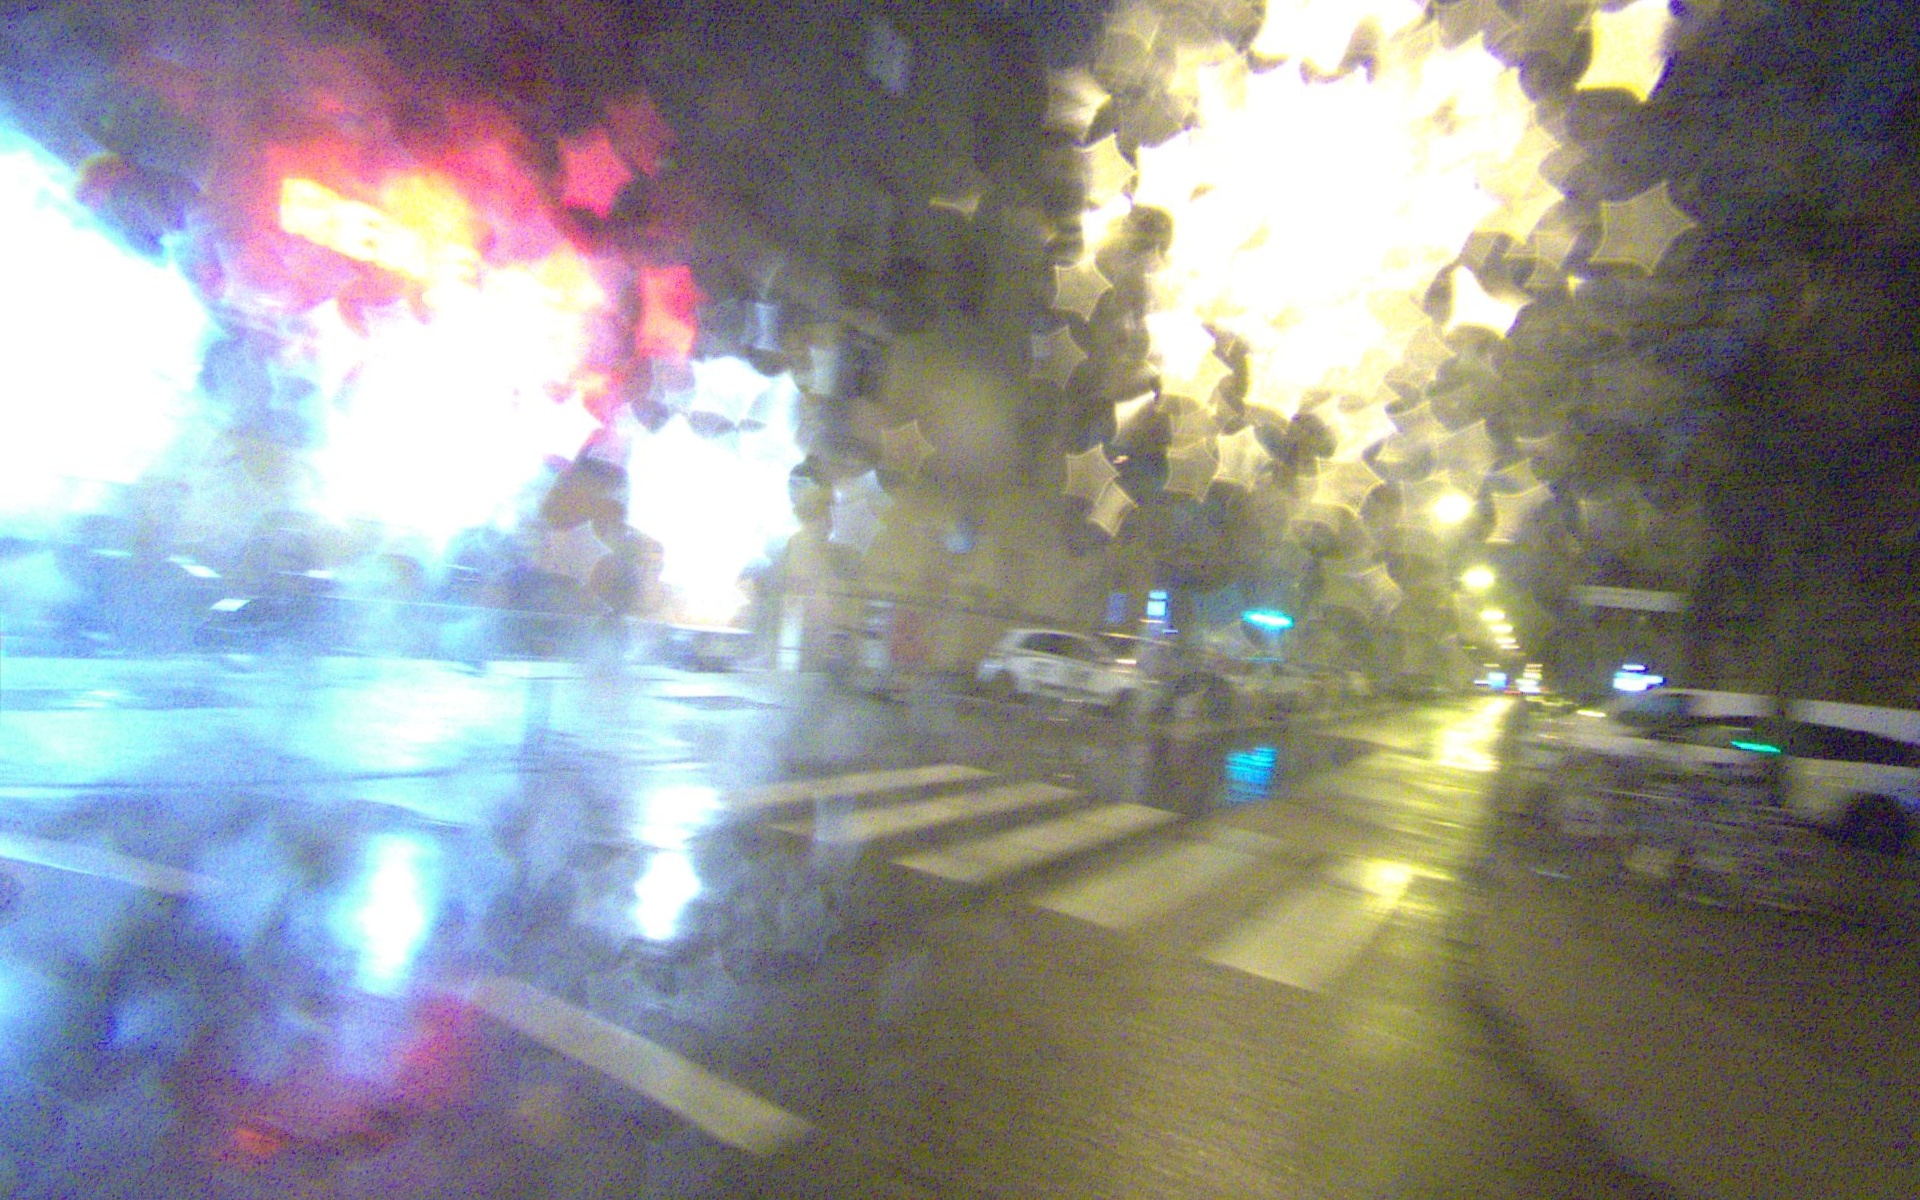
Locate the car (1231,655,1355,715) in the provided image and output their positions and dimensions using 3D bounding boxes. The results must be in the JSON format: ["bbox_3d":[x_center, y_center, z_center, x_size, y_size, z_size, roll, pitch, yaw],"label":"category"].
[{"bbox_3d":[11.501,2.928,34.933,3.623,1.595,1.759,6,-2,5],"label":"car"}]

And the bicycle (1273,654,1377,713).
[{"bbox_3d":[16.341,3.720,45.234,3.924,2.038,2.002,7,-1,11],"label":"bicycle"}]

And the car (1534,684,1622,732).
[{"bbox_3d":[34.843,6.050,56.799,3.934,2.038,1.996,7,0,33],"label":"car"}]

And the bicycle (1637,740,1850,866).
[{"bbox_3d":[8.719,2.237,11.279,1.747,1.021,0.403,7,0,31],"label":"bicycle"}]

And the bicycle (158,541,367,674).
[{"bbox_3d":[-7.121,0.116,10.361,0.378,1.187,1.644,4,-4,33],"label":"bicycle"}]

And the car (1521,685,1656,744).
[{"bbox_3d":[22.675,4.130,36.367,3.937,1.569,1.996,5,-3,35],"label":"car"}]

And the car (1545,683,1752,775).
[{"bbox_3d":[18.852,3.490,27.835,4.386,1.783,1.998,6,-2,29],"label":"car"}]

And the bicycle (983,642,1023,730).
[{"bbox_3d":[0.645,1.262,15.077,0.443,1.190,1.968,6,-3,3],"label":"bicycle"}]

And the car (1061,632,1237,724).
[{"bbox_3d":[4.221,1.765,22.907,3.623,1.595,1.759,6,-2,5],"label":"car"}]

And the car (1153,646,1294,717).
[{"bbox_3d":[7.676,2.384,29.563,3.623,1.595,1.759,6,-2,5],"label":"car"}]

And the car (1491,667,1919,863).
[{"bbox_3d":[10.304,2.163,13.971,5.009,1.783,1.998,6,-2,29],"label":"car"}]

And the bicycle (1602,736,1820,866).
[{"bbox_3d":[8.134,2.156,10.988,1.779,1.021,0.403,7,0,31],"label":"bicycle"}]

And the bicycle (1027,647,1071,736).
[{"bbox_3d":[1.316,1.341,15.071,0.443,1.190,1.968,6,-3,3],"label":"bicycle"}]

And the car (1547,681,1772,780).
[{"bbox_3d":[17.764,3.284,25.856,4.386,1.783,1.998,6,-2,29],"label":"car"}]

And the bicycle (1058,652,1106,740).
[{"bbox_3d":[1.811,1.399,15.077,0.443,1.190,1.968,6,-3,3],"label":"bicycle"}]

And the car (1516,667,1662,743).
[{"bbox_3d":[21.241,3.539,34.030,3.937,2.036,1.997,5,-3,35],"label":"car"}]

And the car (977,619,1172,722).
[{"bbox_3d":[2.283,1.423,20.453,3.623,1.595,1.759,6,-2,5],"label":"car"}]

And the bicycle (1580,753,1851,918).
[{"bbox_3d":[6.592,2.030,8.890,1.779,1.021,0.379,7,0,31],"label":"bicycle"}]

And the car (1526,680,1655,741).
[{"bbox_3d":[23.921,4.181,38.248,3.937,1.793,1.996,5,-3,35],"label":"car"}]

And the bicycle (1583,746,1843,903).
[{"bbox_3d":[6.847,2.019,9.255,1.779,1.021,0.403,7,0,31],"label":"bicycle"}]

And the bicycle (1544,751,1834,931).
[{"bbox_3d":[5.874,1.917,8.234,1.779,1.021,0.454,7,0,31],"label":"bicycle"}]

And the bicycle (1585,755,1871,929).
[{"bbox_3d":[6.396,1.986,8.495,1.779,1.021,0.403,7,0,31],"label":"bicycle"}]

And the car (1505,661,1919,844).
[{"bbox_3d":[11.808,2.291,15.858,5.452,1.912,1.998,6,-2,29],"label":"car"}]

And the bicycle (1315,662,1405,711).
[{"bbox_3d":[21.578,4.651,54.434,3.924,2.038,2.001,8,-1,5],"label":"bicycle"}]

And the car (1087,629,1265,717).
[{"bbox_3d":[5.328,1.814,25.209,4.029,1.681,1.759,6,-2,5],"label":"car"}]

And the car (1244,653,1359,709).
[{"bbox_3d":[12.756,3.018,37.727,3.623,1.595,1.759,6,-2,5],"label":"car"}]

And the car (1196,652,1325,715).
[{"bbox_3d":[9.779,2.705,32.944,3.623,1.595,1.759,6,-2,5],"label":"car"}]

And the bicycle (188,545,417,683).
[{"bbox_3d":[-6.381,0.182,9.878,0.378,1.188,1.783,7,-1,34],"label":"bicycle"}]

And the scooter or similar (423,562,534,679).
[{"bbox_3d":[-5.891,0.238,12.278,1.292,1.244,0.525,7,-1,36],"label":"scooter or similar"}]

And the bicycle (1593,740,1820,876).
[{"bbox_3d":[7.764,2.143,10.556,1.779,1.021,0.403,7,0,31],"label":"bicycle"}]
